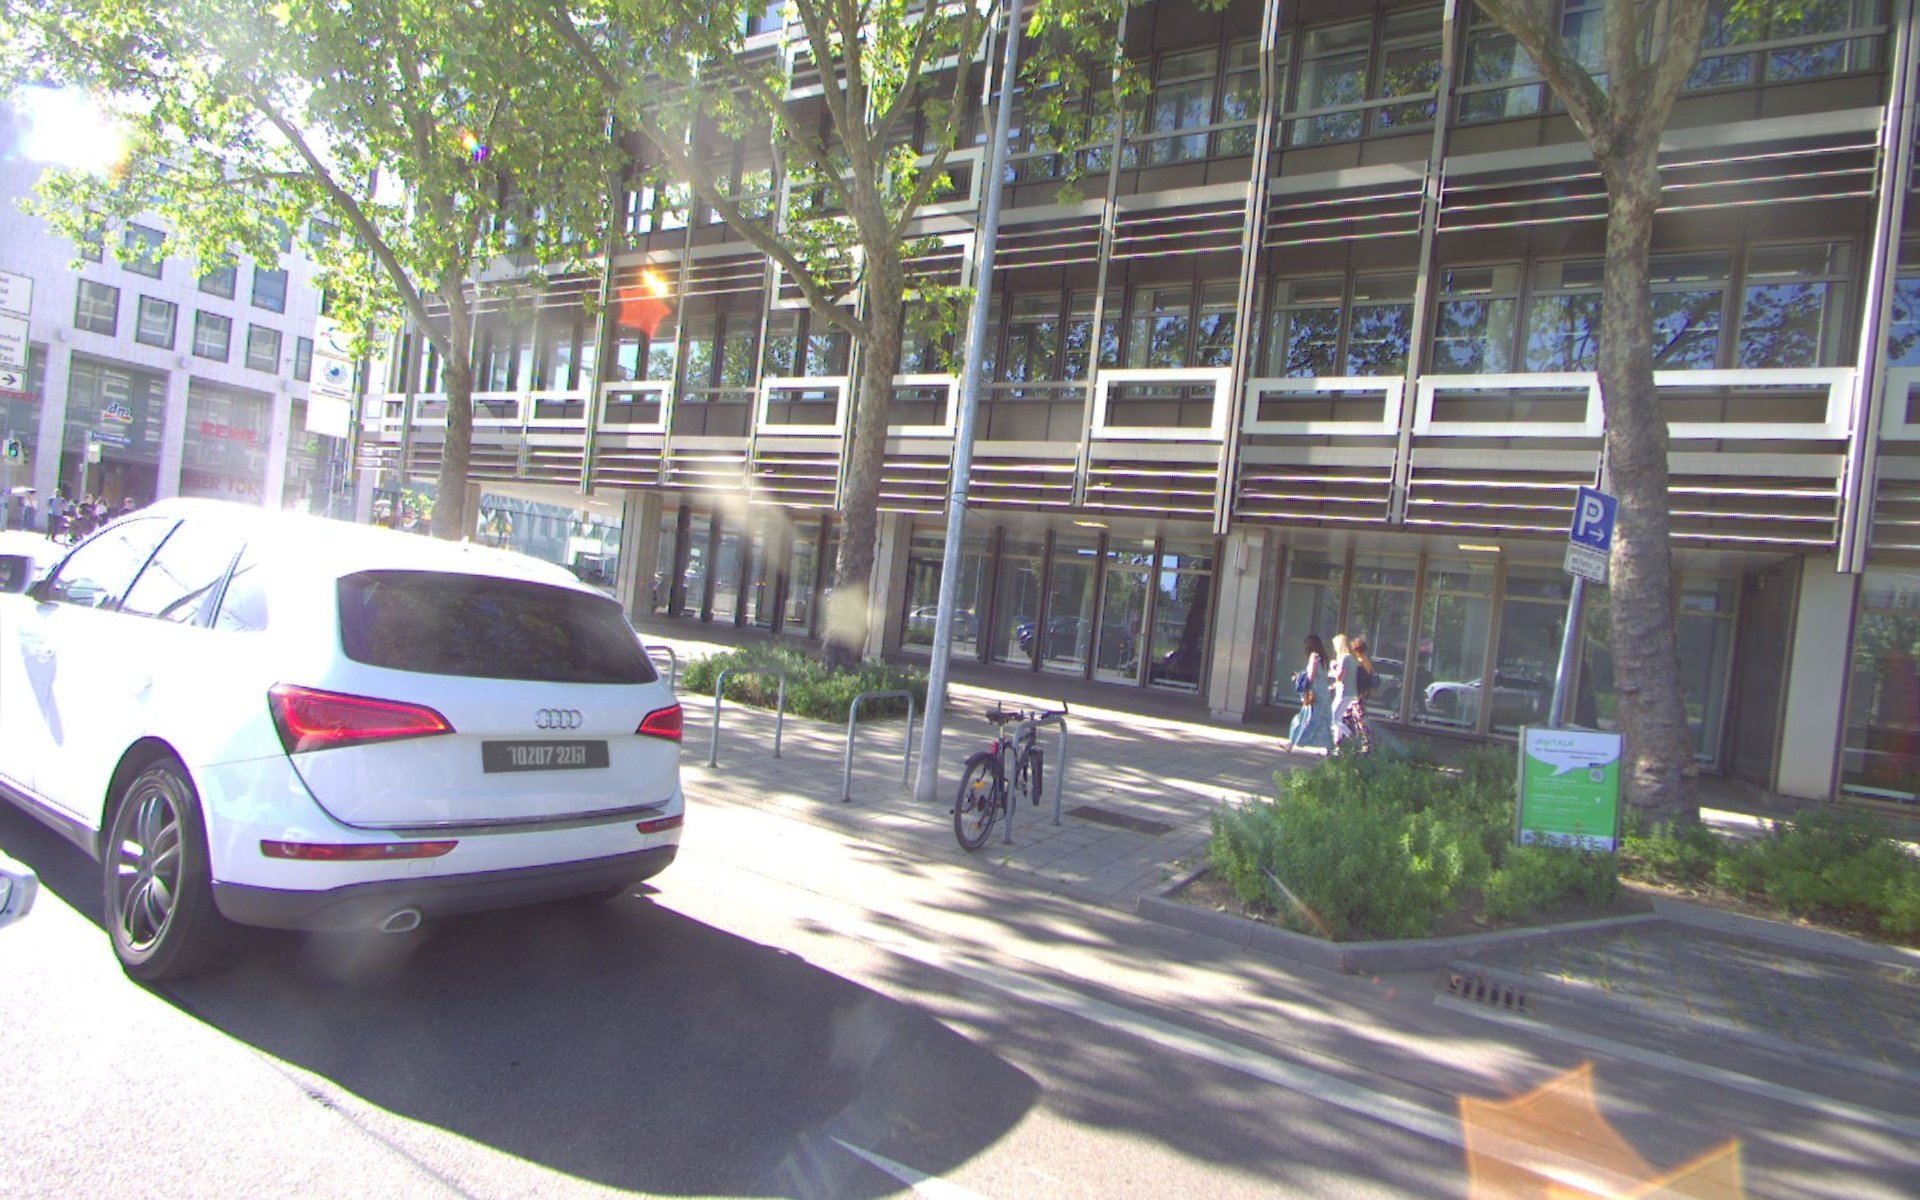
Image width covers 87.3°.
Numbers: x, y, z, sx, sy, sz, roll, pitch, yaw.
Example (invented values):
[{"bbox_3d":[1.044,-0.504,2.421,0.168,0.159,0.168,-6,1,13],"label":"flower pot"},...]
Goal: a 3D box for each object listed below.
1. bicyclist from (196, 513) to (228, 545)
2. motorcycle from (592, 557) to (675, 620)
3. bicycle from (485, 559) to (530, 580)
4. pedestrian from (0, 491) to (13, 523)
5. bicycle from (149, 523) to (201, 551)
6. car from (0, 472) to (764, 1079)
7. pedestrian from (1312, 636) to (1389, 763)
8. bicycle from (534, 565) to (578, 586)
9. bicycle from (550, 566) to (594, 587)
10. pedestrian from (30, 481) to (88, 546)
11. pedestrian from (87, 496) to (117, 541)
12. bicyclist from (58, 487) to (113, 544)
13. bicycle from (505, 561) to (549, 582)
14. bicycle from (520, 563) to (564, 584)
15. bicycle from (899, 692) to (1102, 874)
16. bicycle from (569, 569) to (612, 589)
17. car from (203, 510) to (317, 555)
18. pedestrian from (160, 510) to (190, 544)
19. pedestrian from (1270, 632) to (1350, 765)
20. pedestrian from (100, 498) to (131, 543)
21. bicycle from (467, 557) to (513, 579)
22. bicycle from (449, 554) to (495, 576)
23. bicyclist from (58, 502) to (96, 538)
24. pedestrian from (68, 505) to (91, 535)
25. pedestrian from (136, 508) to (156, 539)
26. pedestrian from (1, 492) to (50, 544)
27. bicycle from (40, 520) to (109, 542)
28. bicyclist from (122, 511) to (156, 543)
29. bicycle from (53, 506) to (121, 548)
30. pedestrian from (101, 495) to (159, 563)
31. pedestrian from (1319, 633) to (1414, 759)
[{"bbox_3d":[-38.322,-3.634,51.524,1.024,1.451,0.933,7,0,35],"label":"bicyclist"},{"bbox_3d":[-8.791,-0.318,27.065,2.087,1.459,0.824,7,0,32],"label":"motorcycle"},{"bbox_3d":[-30.809,-2.072,68.482,3.441,1.107,1.067,6,0,34],"label":"bicycle"},{"bbox_3d":[-51.536,-5.024,54.045,0.547,1.628,0.748,8,1,30],"label":"pedestrian"},{"bbox_3d":[-41.148,-3.298,52.713,3.440,1.107,1.067,6,0,33],"label":"bicycle"},{"bbox_3d":[-3.240,0.394,4.752,4.340,1.633,1.822,7,0,32],"label":"car"},{"bbox_3d":[5.351,1.334,13.776,0.716,1.622,0.666,7,3,32],"label":"pedestrian"},{"bbox_3d":[-28.762,-1.751,71.634,3.441,1.107,1.067,6,0,34],"label":"bicycle"},{"bbox_3d":[-27.954,-1.700,72.497,3.441,1.107,1.067,6,0,34],"label":"bicycle"},{"bbox_3d":[-31.141,-2.983,34.774,1.059,2.038,0.949,7,0,20],"label":"pedestrian"},{"bbox_3d":[-33.060,-3.123,38.764,0.517,1.634,0.661,6,2,22],"label":"pedestrian"},{"bbox_3d":[-25.629,-2.472,29.493,0.869,1.495,0.882,7,1,31],"label":"bicyclist"},{"bbox_3d":[-29.948,-1.988,69.545,3.441,1.107,1.067,6,0,34],"label":"bicycle"},{"bbox_3d":[-29.369,-1.872,70.632,3.441,1.107,1.067,6,0,34],"label":"bicycle"},{"bbox_3d":[0.360,1.253,7.365,0.699,0.973,1.846,7,2,26],"label":"bicycle"},{"bbox_3d":[-27.172,-1.517,73.907,3.441,1.107,1.067,6,0,34],"label":"bicycle"},{"bbox_3d":[-34.613,-3.321,49.844,1.831,1.632,4.188,5,-1,33],"label":"car"},{"bbox_3d":[-44.186,-4.106,56.614,0.846,1.705,0.978,7,1,29],"label":"pedestrian"},{"bbox_3d":[4.617,1.269,13.266,0.716,1.622,0.666,7,3,32],"label":"pedestrian"},{"bbox_3d":[-32.433,-3.040,38.638,0.517,1.634,0.661,6,2,22],"label":"pedestrian"},{"bbox_3d":[-31.369,-2.168,67.130,3.441,1.107,1.067,6,0,34],"label":"bicycle"},{"bbox_3d":[-32.196,-2.288,66.291,3.441,1.107,1.067,6,0,34],"label":"bicycle"},{"bbox_3d":[-41.113,-3.704,46.821,1.055,1.494,1.022,7,0,35],"label":"bicyclist"},{"bbox_3d":[-51.501,-4.702,58.852,0.737,1.628,0.556,7,1,-5],"label":"pedestrian"},{"bbox_3d":[-50.040,-4.702,61.833,0.639,1.785,0.556,7,1,-5],"label":"pedestrian"},{"bbox_3d":[-36.119,-3.179,38.884,1.497,1.825,0.967,7,2,31],"label":"pedestrian"},{"bbox_3d":[-41.179,-3.221,46.788,1.055,0.679,2.194,6,-1,35],"label":"bicycle"},{"bbox_3d":[-39.986,-3.562,48.997,1.059,1.413,0.933,7,0,35],"label":"bicyclist"},{"bbox_3d":[-25.512,-2.138,29.397,2.017,0.997,0.882,7,0,31],"label":"bicycle"},{"bbox_3d":[-27.142,-2.314,32.905,1.060,2.038,0.949,7,0,24],"label":"pedestrian"},{"bbox_3d":[5.812,1.342,14.382,0.992,1.622,0.666,7,3,32],"label":"pedestrian"}]
